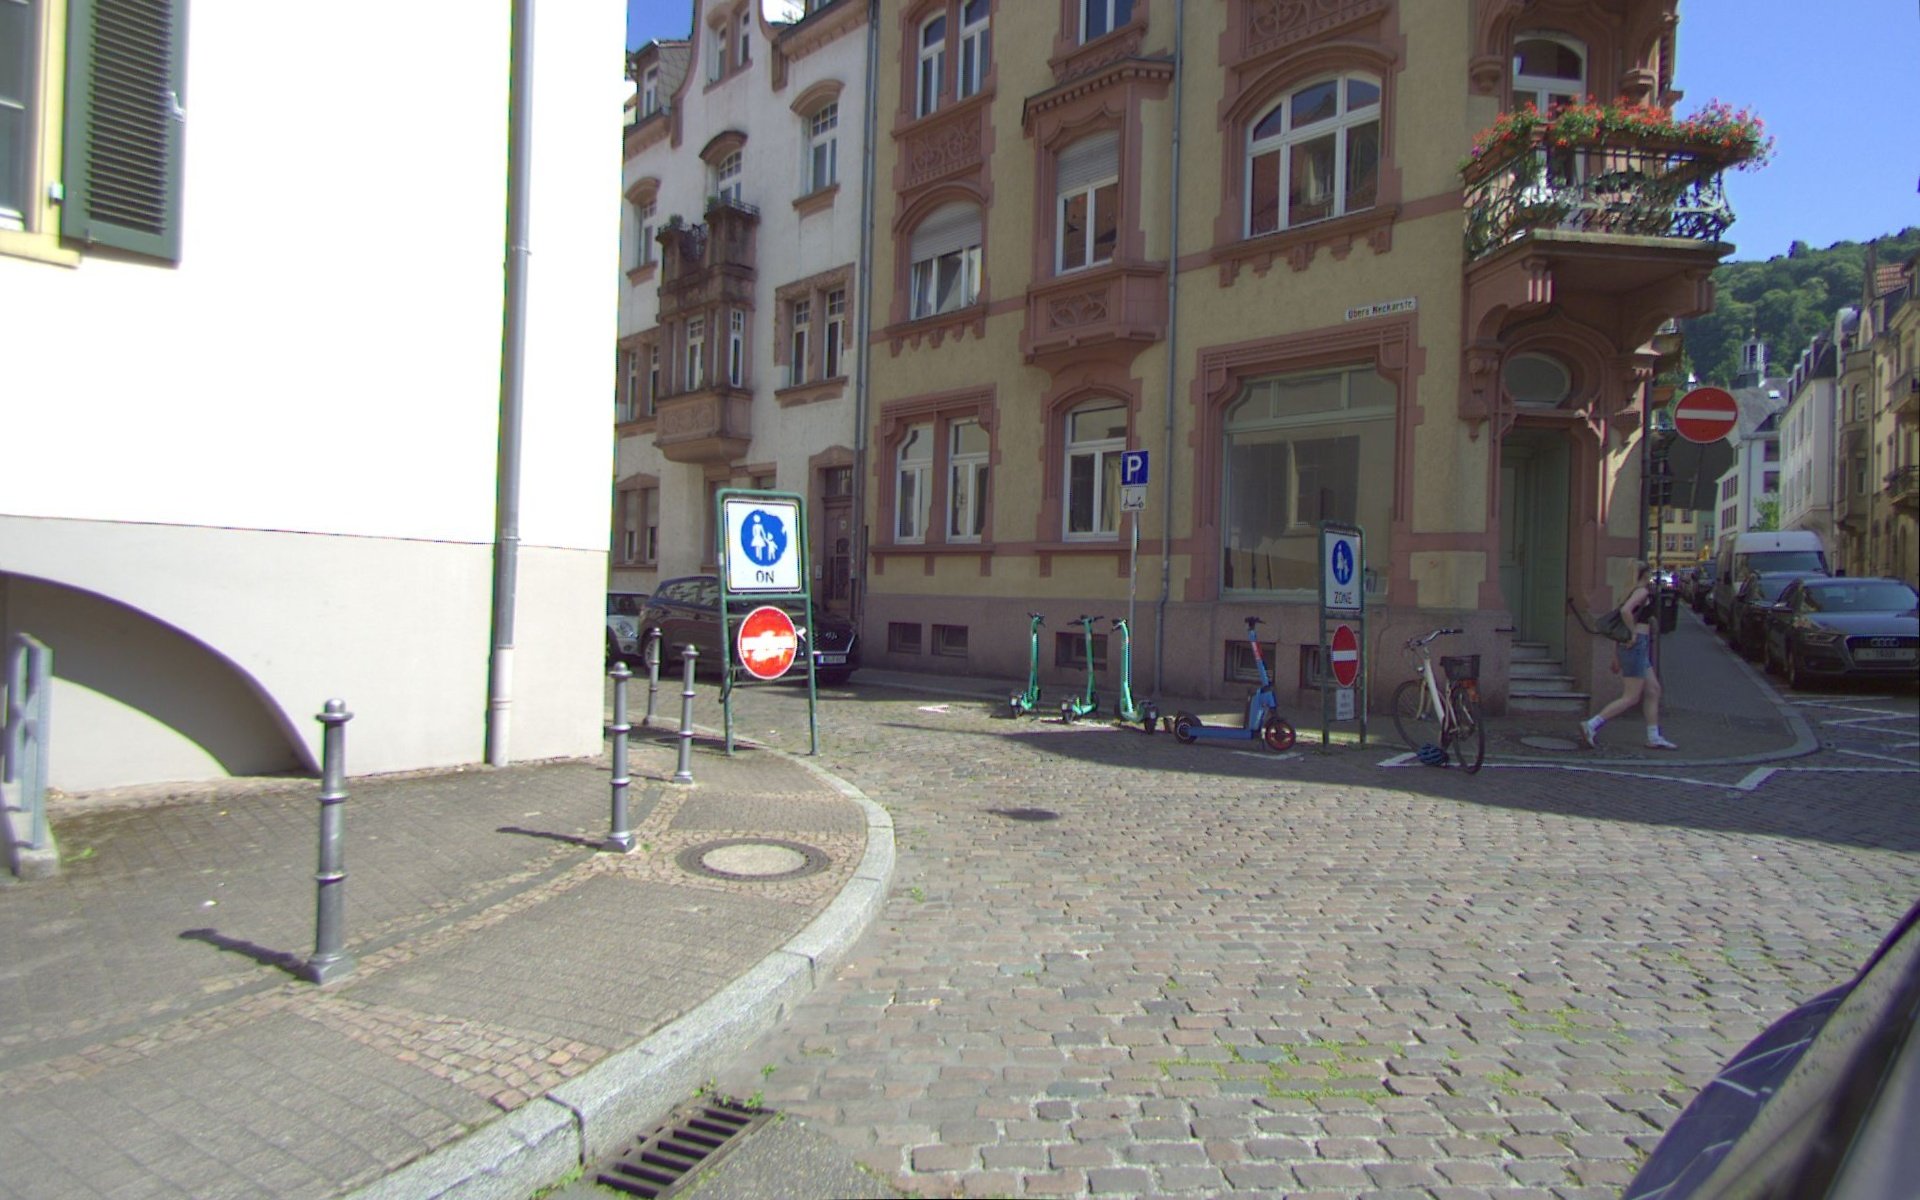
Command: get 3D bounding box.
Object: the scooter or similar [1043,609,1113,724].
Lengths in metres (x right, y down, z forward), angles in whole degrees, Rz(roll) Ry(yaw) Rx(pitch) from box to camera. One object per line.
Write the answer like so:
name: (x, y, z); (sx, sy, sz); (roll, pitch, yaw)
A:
scooter or similar: (1.361, 0.722, 11.548); (0.409, 1.224, 1.224); (1, 0, 25)

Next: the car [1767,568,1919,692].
car: (13.357, 0.343, 14.939); (1.849, 1.603, 4.210); (-1, 1, 33)

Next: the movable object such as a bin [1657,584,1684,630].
movable object such as a bin: (17.315, 0.166, 24.675); (0.514, 1.103, 0.416); (1, 0, 35)

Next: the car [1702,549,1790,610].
car: (26.790, -0.663, 34.631); (1.986, 1.940, 3.953); (1, 0, 33)

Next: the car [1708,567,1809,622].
car: (24.125, -0.167, 30.706); (1.986, 1.545, 3.953); (2, 0, 33)

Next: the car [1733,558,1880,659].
car: (16.138, 0.116, 19.477); (1.750, 1.727, 3.951); (-2, 1, 35)

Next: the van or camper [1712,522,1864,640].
van or camper: (20.493, -0.554, 25.355); (2.211, 2.551, 6.688); (2, 3, 34)

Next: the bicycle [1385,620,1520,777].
bicycle: (4.278, 0.794, 8.917); (0.497, 1.160, 1.789); (2, 1, 8)

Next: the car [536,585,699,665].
car: (-6.645, 0.415, 19.500); (1.684, 1.375, 3.325); (0, 1, -45)

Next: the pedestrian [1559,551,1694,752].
pedestrian: (6.281, 0.440, 9.546); (0.977, 1.780, 0.614); (0, 3, 44)

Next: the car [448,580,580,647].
car: (-10.231, 0.260, 23.148); (1.684, 1.413, 3.325); (0, 1, -45)

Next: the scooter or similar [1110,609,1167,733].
scooter or similar: (1.903, 0.727, 10.863); (0.335, 1.224, 1.191); (1, 0, -2)

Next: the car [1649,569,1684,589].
car: (61.617, -1.828, 88.343); (1.981, 1.683, 3.961); (1, 0, 28)

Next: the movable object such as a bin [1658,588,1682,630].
movable object such as a bin: (16.628, 0.210, 23.703); (0.437, 0.969, 0.345); (1, 0, 35)

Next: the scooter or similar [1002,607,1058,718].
scooter or similar: (0.842, 0.701, 11.919); (0.338, 1.224, 1.183); (1, 0, 19)

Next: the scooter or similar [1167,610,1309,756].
scooter or similar: (2.588, 0.741, 9.453); (1.181, 1.251, 0.437); (1, 0, 31)

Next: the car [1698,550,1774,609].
car: (30.175, -0.754, 39.461); (1.986, 2.172, 3.953); (1, 0, 33)

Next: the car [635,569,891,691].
car: (-3.177, 0.373, 15.907); (3.985, 1.663, 1.969); (1, 1, 42)
